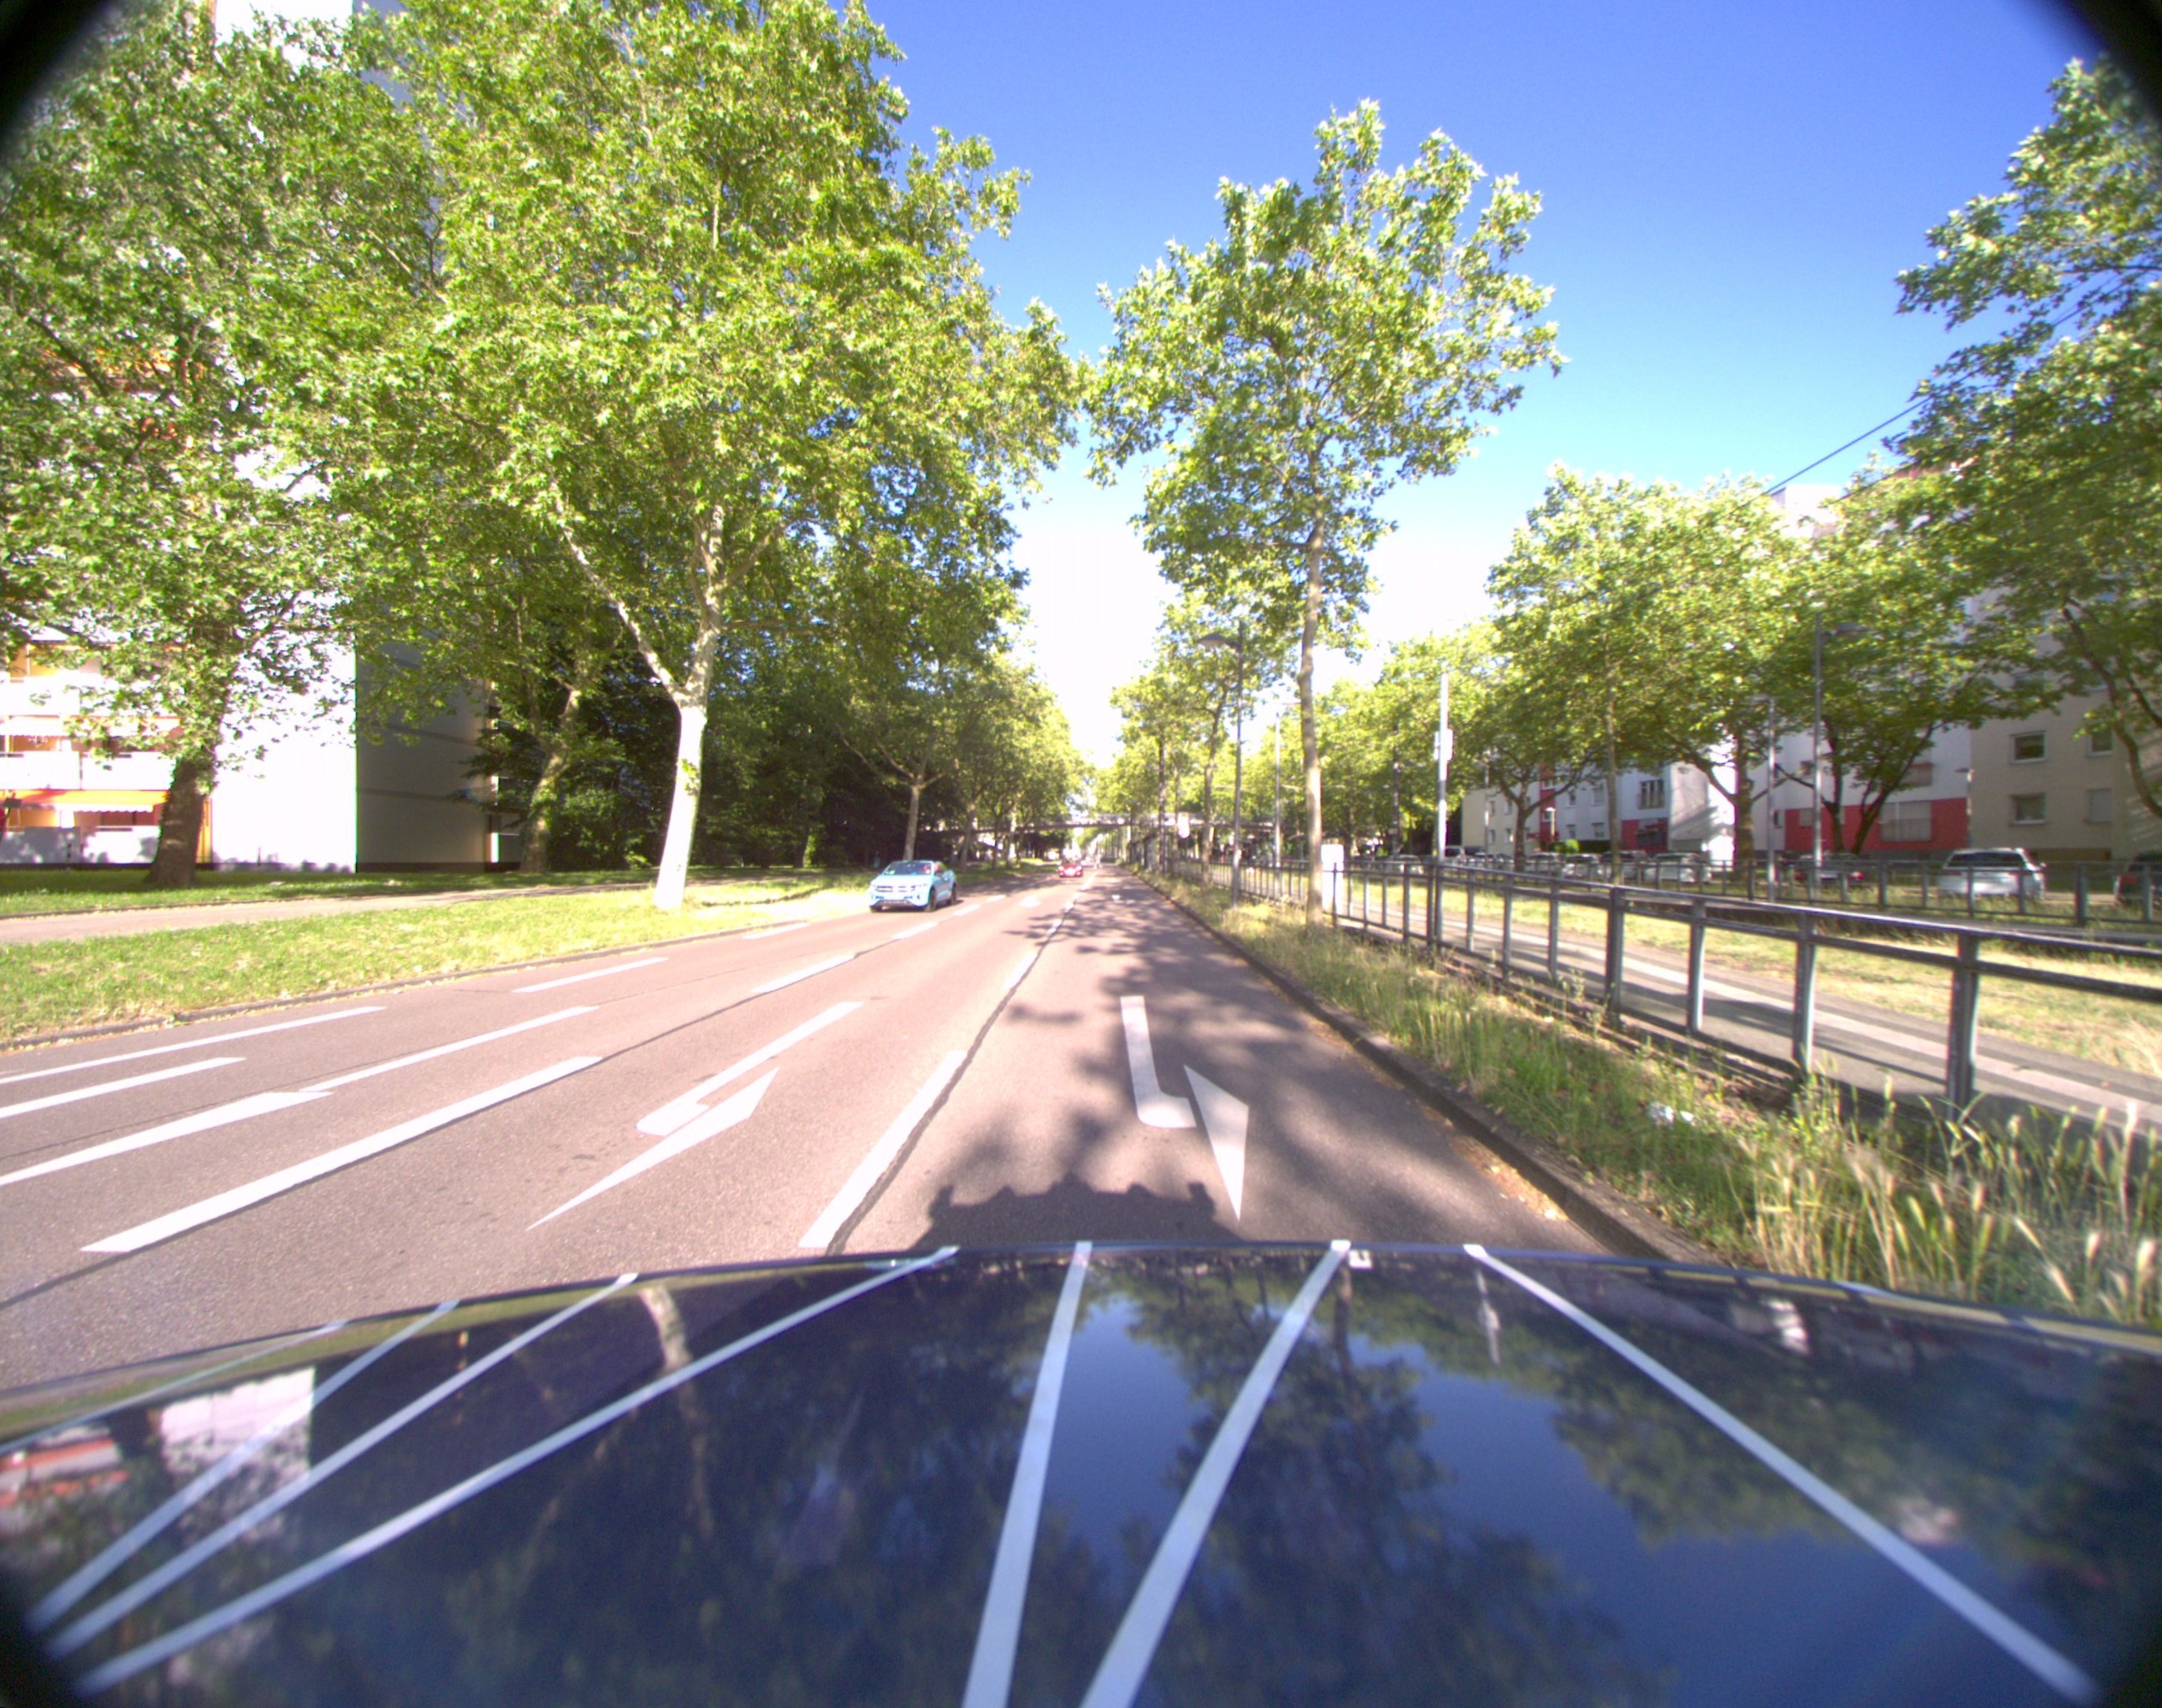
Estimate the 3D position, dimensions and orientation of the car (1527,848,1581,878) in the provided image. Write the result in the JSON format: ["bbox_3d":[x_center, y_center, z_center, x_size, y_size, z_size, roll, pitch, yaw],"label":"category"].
[{"bbox_3d":[26.110,0.484,41.885,3.494,1.417,1.558,-3,-1,-42],"label":"car"}]

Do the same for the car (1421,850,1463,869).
[{"bbox_3d":[26.004,0.380,54.712,3.494,1.336,1.476,-1,1,-41],"label":"car"}]

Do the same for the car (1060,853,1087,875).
[{"bbox_3d":[-0.481,0.688,53.862,1.646,1.430,3.761,-2,1,3],"label":"car"}]

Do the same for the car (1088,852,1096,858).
[{"bbox_3d":[2.911,0.359,202.389,1.798,1.465,3.999,-2,1,-1],"label":"car"}]

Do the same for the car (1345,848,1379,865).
[{"bbox_3d":[27.326,0.225,73.945,3.742,1.517,1.597,-1,1,-43],"label":"car"}]

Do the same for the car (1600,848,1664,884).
[{"bbox_3d":[26.003,0.549,35.833,3.402,1.499,1.461,-3,1,-37],"label":"car"}]

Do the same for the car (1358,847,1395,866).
[{"bbox_3d":[26.304,0.198,67.620,3.835,1.561,1.597,-1,1,-43],"label":"car"}]

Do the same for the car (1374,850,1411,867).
[{"bbox_3d":[26.453,0.372,64.428,3.494,1.312,1.476,-1,1,-41],"label":"car"}]

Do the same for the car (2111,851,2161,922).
[{"bbox_3d":[25.083,0.704,17.501,3.770,1.420,1.555,-3,1,-37],"label":"car"}]

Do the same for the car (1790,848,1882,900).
[{"bbox_3d":[25.106,0.622,25.230,4.007,1.479,1.626,-3,1,-37],"label":"car"}]

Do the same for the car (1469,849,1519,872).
[{"bbox_3d":[26.274,0.393,48.283,3.494,1.395,1.623,-1,1,-41],"label":"car"}]

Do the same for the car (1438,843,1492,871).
[{"bbox_3d":[25.931,0.160,51.301,4.056,1.802,1.864,-1,1,-41],"label":"car"}]

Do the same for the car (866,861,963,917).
[{"bbox_3d":[-4.892,0.971,22.914,1.737,1.442,4.132,-1,1,4],"label":"car"}]

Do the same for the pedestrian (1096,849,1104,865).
[{"bbox_3d":[2.385,0.319,97.081,0.919,2.002,0.962,-2,1,-1],"label":"pedestrian"}]

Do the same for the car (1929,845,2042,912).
[{"bbox_3d":[25.253,0.611,21.179,4.007,1.586,1.810,-3,1,-37],"label":"car"}]

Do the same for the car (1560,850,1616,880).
[{"bbox_3d":[26.121,0.542,39.122,3.493,1.321,1.476,-3,0,-41],"label":"car"}]

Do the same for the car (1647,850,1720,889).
[{"bbox_3d":[25.627,0.626,32.291,3.890,1.406,1.486,-3,1,-37],"label":"car"}]
